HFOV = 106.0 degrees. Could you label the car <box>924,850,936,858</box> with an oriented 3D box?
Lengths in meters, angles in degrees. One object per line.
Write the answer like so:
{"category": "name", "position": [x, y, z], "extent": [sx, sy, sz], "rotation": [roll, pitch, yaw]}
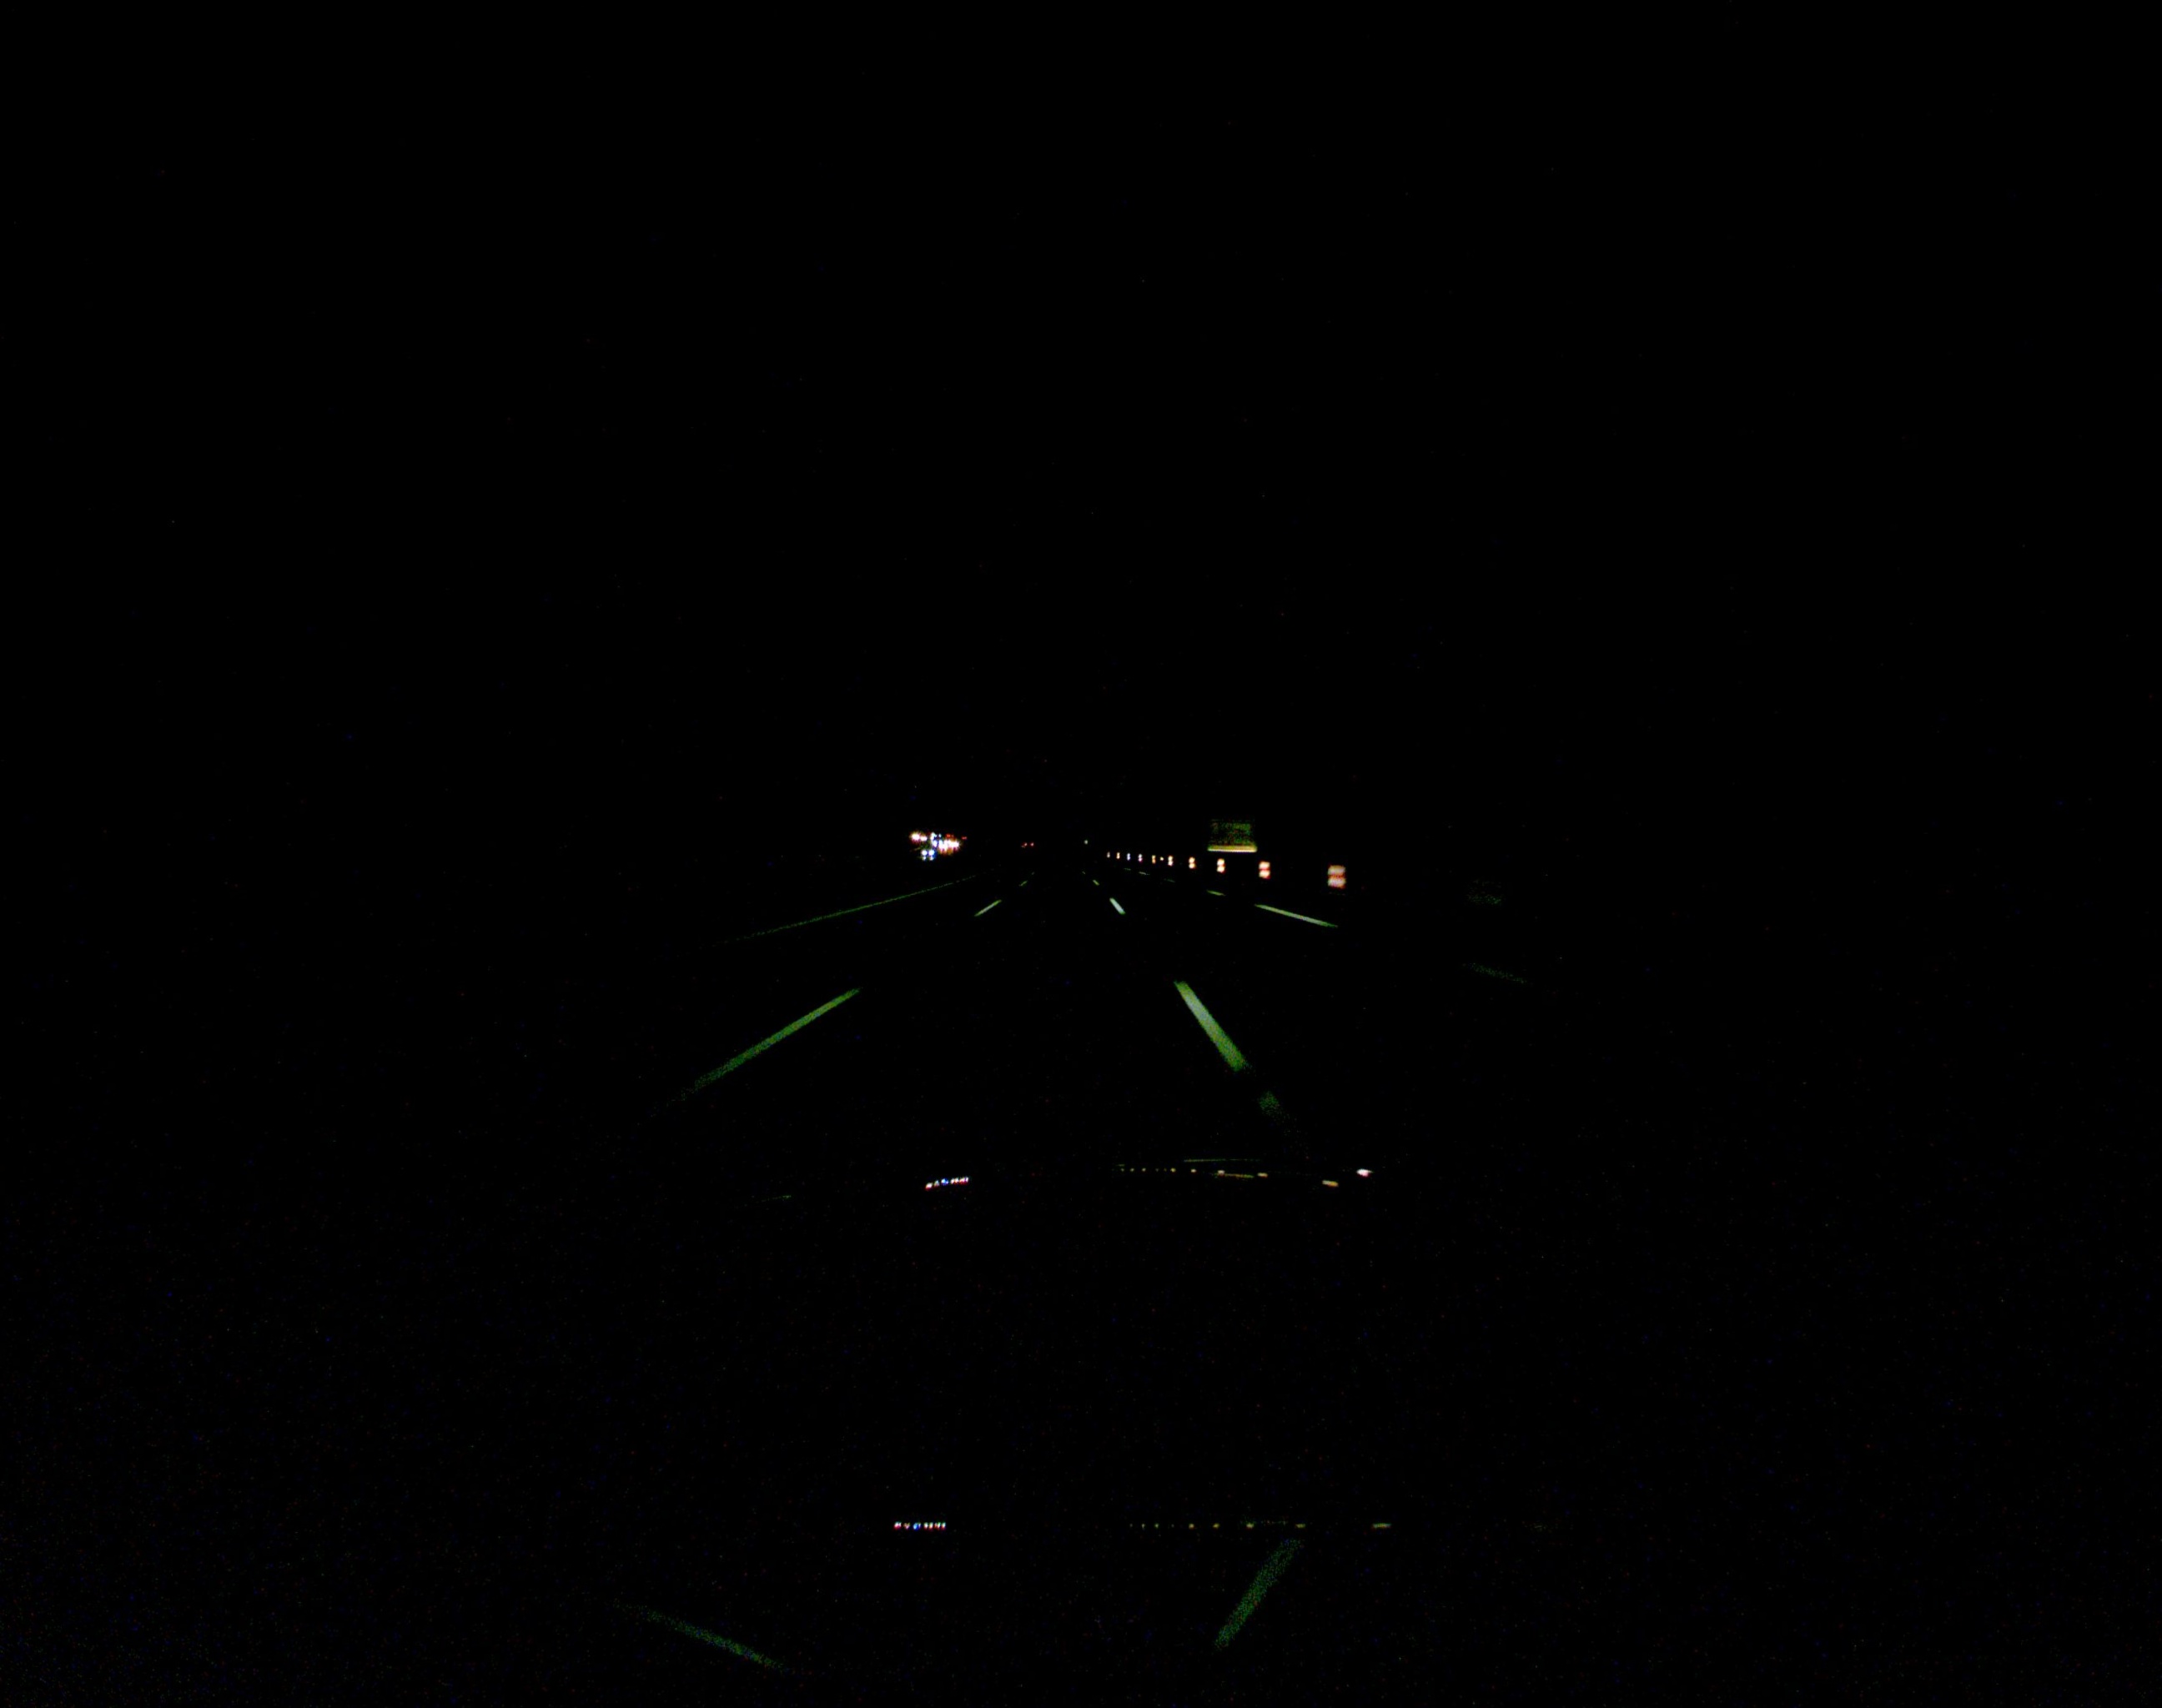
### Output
{"category": "car", "position": [-29.173, 0.043, 157.404], "extent": [1.990, 1.508, 4.308], "rotation": [-1, 1, -5]}

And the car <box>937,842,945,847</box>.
{"category": "car", "position": [-40.561, -2.773, 236.357], "extent": [1.990, 1.508, 3.993], "rotation": [-1, 1, -5]}

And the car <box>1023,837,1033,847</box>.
{"category": "car", "position": [-14.846, -3.324, 228.569], "extent": [2.525, 2.553, 6.038], "rotation": [1, 1, -7]}
